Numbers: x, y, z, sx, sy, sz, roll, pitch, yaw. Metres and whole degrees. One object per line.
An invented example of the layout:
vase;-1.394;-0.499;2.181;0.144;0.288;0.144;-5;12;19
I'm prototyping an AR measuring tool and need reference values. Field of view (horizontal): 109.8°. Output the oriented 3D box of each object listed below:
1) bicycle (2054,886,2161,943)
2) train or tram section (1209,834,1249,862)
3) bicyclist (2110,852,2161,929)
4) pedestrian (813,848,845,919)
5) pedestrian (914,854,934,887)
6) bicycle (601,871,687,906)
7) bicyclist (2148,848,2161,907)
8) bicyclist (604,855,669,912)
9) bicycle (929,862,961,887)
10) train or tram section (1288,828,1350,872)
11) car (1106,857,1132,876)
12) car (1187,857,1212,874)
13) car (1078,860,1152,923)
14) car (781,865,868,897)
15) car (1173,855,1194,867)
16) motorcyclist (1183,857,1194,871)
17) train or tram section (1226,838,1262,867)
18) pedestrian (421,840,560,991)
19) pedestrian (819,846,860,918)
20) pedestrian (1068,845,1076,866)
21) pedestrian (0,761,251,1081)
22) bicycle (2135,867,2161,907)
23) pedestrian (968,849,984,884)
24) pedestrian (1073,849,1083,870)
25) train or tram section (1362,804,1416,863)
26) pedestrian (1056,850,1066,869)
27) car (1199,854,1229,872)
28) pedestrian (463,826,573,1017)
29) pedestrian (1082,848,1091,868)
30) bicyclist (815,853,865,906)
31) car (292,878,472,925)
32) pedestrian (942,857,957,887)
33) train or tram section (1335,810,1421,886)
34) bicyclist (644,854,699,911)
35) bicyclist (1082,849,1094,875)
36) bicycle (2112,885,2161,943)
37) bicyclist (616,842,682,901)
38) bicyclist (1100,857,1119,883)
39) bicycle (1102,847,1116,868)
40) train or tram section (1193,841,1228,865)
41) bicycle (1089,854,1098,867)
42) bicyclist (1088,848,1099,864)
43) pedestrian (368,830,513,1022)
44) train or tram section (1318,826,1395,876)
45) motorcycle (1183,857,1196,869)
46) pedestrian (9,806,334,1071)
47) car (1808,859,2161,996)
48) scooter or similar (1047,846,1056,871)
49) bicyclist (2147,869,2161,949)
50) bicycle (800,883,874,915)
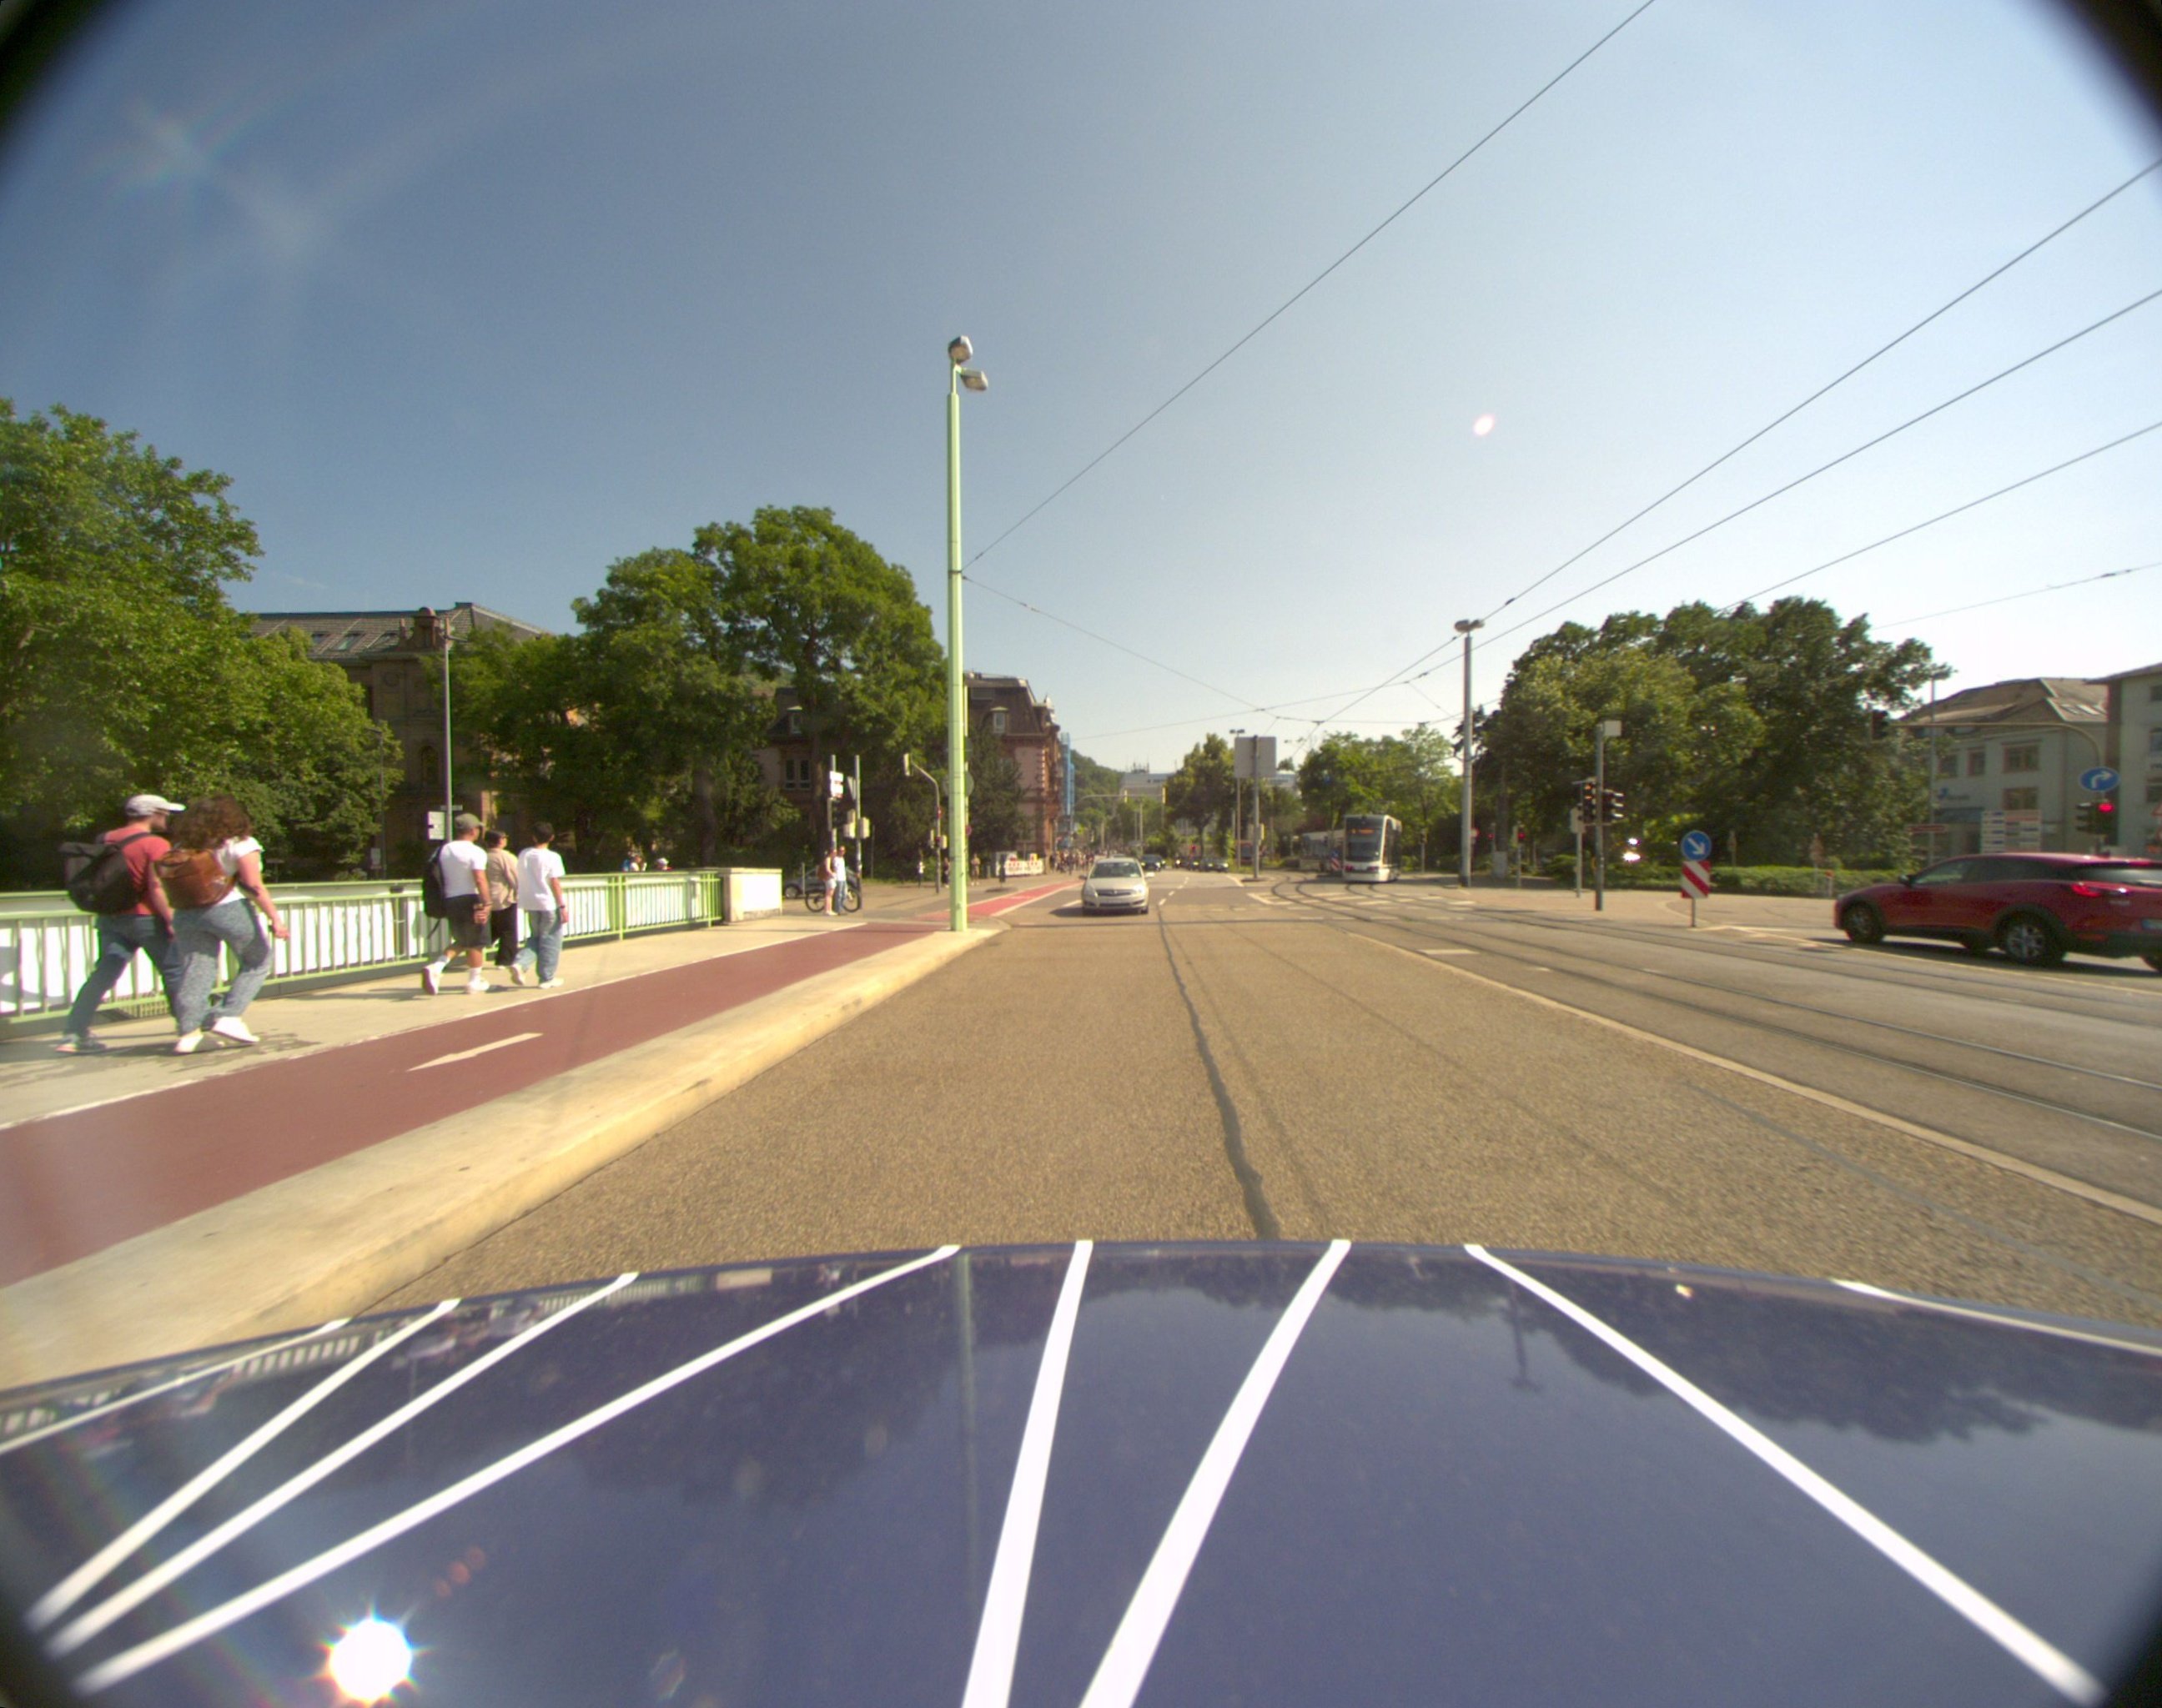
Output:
bicycle;22.698;1.295;16.424;1.914;1.107;0.763;1;2;42
train or tram section;19.296;-0.759;100.134;2.767;3.384;12.410;1;0;0
bicyclist;22.877;0.771;16.244;0.877;1.600;0.773;1;2;41
pedestrian;-6.332;0.730;19.135;0.535;1.750;0.577;-1;0;7
pedestrian;-9.007;0.929;43.547;1.060;1.772;0.700;-1;5;-11
bicycle;-11.154;0.876;19.413;1.942;0.822;0.565;-2;0;8
bicyclist;31.226;0.668;21.545;0.877;1.665;0.773;1;2;33
bicyclist;-11.767;0.770;20.141;1.081;1.465;0.929;-2;0;12
bicycle;-7.868;1.167;44.046;0.801;1.199;2.276;3;5;21
train or tram section;21.718;-0.374;69.996;2.544;3.755;9.166;1;1;-2
car;3.280;1.093;66.260;1.998;1.565;4.000;-1;0;1
car;11.009;1.061;70.951;1.797;1.403;4.000;1;1;1
car;0.947;0.933;20.808;1.802;1.492;4.498;0;0;3
car;-12.851;1.345;38.334;3.995;1.507;1.933;0;0;-14
car;11.140;0.736;82.748;1.637;1.301;3.913;1;0;-2
motorcyclist;11.065;1.035;78.249;0.903;1.350;0.993;1;1;-2
train or tram section;19.434;-0.178;90.916;2.767;3.384;5.885;1;0;-2
pedestrian;-6.694;0.653;8.667;0.800;1.625;0.950;0;1;5
pedestrian;-6.253;0.714;19.686;0.775;1.844;0.645;-1;0;7
pedestrian;-0.823;0.154;67.475;0.636;1.880;0.903;-1;1;-3
pedestrian;-6.673;0.415;5.224;0.805;2.002;0.954;0;2;-2
bicycle;31.231;0.964;21.607;0.759;1.107;1.924;1;2;32
pedestrian;-6.193;0.727;44.844;0.777;2.002;1.059;0;1;-1
pedestrian;-0.274;0.486;66.247;0.707;1.759;0.903;-4;1;-3
train or tram section;21.007;-1.275;52.268;2.407;3.659;9.631;0;0;16
pedestrian;-1.657;0.463;63.431;0.814;1.593;0.815;2;1;-2
car;11.303;0.748;64.796;1.752;1.477;4.747;1;0;1
pedestrian;-5.495;0.632;7.448;0.550;1.789;0.645;0;2;-2
pedestrian;0.488;0.370;67.210;0.707;1.743;0.902;0;2;-3
bicyclist;-6.823;0.715;21.542;1.082;1.465;0.801;-2;0;8
car;-24.550;1.648;26.808;4.484;1.439;1.847;-1;0;-3
pedestrian;-7.585;1.004;43.769;0.675;1.700;0.893;1;1;0
train or tram section;17.226;-0.297;43.453;2.471;3.755;11.874;0;0;32
bicyclist;-10.988;0.756;20.387;1.081;1.465;0.763;-1;0;26
bicyclist;0.538;0.618;59.869;0.944;2.002;0.830;1;1;-2
bicycle;22.419;1.224;15.238;1.914;1.107;0.763;0;2;37
bicyclist;-11.043;0.444;19.446;1.081;1.465;0.929;-2;0;10
bicyclist;1.516;0.847;40.739;0.912;1.385;1.233;1;1;1
bicycle;1.501;0.156;40.661;0.643;1.076;2.496;1;0;0
train or tram section;19.075;-0.184;112.556;2.767;3.384;12.409;1;0;-1
bicycle;1.132;0.576;68.434;0.643;1.076;2.496;1;0;-2
bicyclist;1.159;0.149;68.338;0.912;1.428;1.232;1;1;-2
pedestrian;-5.966;0.638;7.125;0.697;1.707;0.731;0;2;-2
train or tram section;21.940;-0.370;61.157;2.544;3.756;9.164;0;2;-2
motorcycle;11.088;0.937;77.851;0.903;1.156;2.352;1;0;-2
pedestrian;-5.970;0.507;5.077;0.987;1.606;0.921;0;1;-2
car;13.345;0.887;11.031;1.997;1.506;4.192;0;1;9
scooter or similar;-2.350;0.358;60.844;0.694;2.002;1.095;1;1;-2
bicyclist;22.344;1.126;15.288;0.769;1.600;0.881;1;2;37
bicycle;-6.909;1.272;21.536;1.942;0.822;0.565;-2;0;8
